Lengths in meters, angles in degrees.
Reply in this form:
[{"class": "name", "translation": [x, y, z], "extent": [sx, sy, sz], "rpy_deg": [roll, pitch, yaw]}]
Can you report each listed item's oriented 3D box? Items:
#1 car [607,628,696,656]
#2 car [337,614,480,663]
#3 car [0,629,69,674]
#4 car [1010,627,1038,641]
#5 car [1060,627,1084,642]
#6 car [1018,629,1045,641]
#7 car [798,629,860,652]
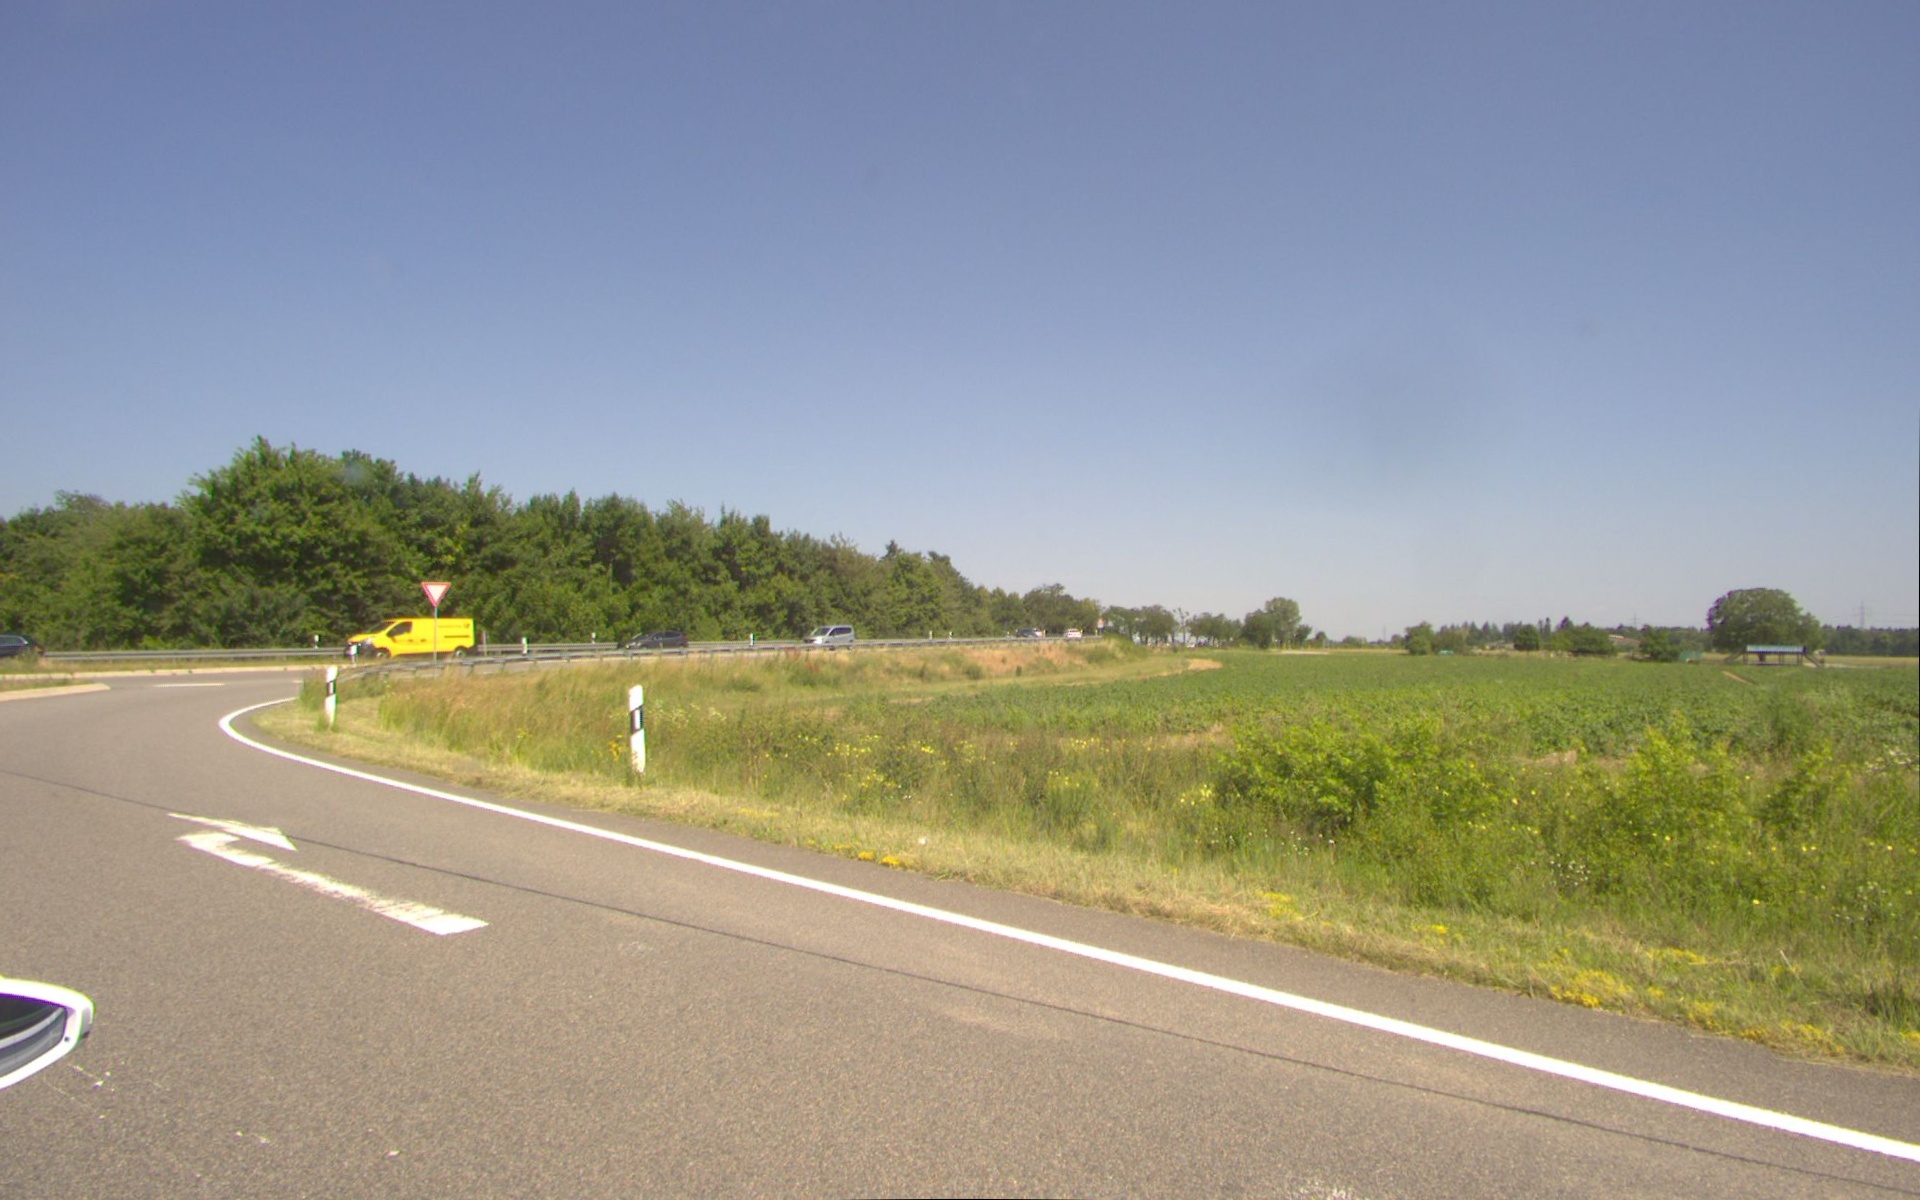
[{"class": "car", "translation": [-17.278, 2.330, 56.308], "extent": [1.828, 1.533, 4.671], "rpy_deg": [-1, -2, 34]}, {"class": "car", "translation": [-24.535, 1.699, 44.776], "extent": [1.973, 2.039, 5.310], "rpy_deg": [-1, -2, 34]}, {"class": "car", "translation": [-33.560, 1.756, 34.112], "extent": [1.834, 1.533, 4.656], "rpy_deg": [-2, -2, 43]}, {"class": "car", "translation": [7.732, 4.093, 121.457], "extent": [1.710, 1.587, 4.471], "rpy_deg": [-1, -1, -21]}, {"class": "car", "translation": [13.359, 4.113, 119.219], "extent": [1.706, 1.587, 4.481], "rpy_deg": [-1, -1, -9]}, {"class": "car", "translation": [9.595, 4.770, 134.700], "extent": [1.715, 1.587, 3.674], "rpy_deg": [0, -2, -31]}, {"class": "car", "translation": [-9.114, 2.788, 70.027], "extent": [1.825, 1.533, 4.678], "rpy_deg": [-1, -2, 29]}]
